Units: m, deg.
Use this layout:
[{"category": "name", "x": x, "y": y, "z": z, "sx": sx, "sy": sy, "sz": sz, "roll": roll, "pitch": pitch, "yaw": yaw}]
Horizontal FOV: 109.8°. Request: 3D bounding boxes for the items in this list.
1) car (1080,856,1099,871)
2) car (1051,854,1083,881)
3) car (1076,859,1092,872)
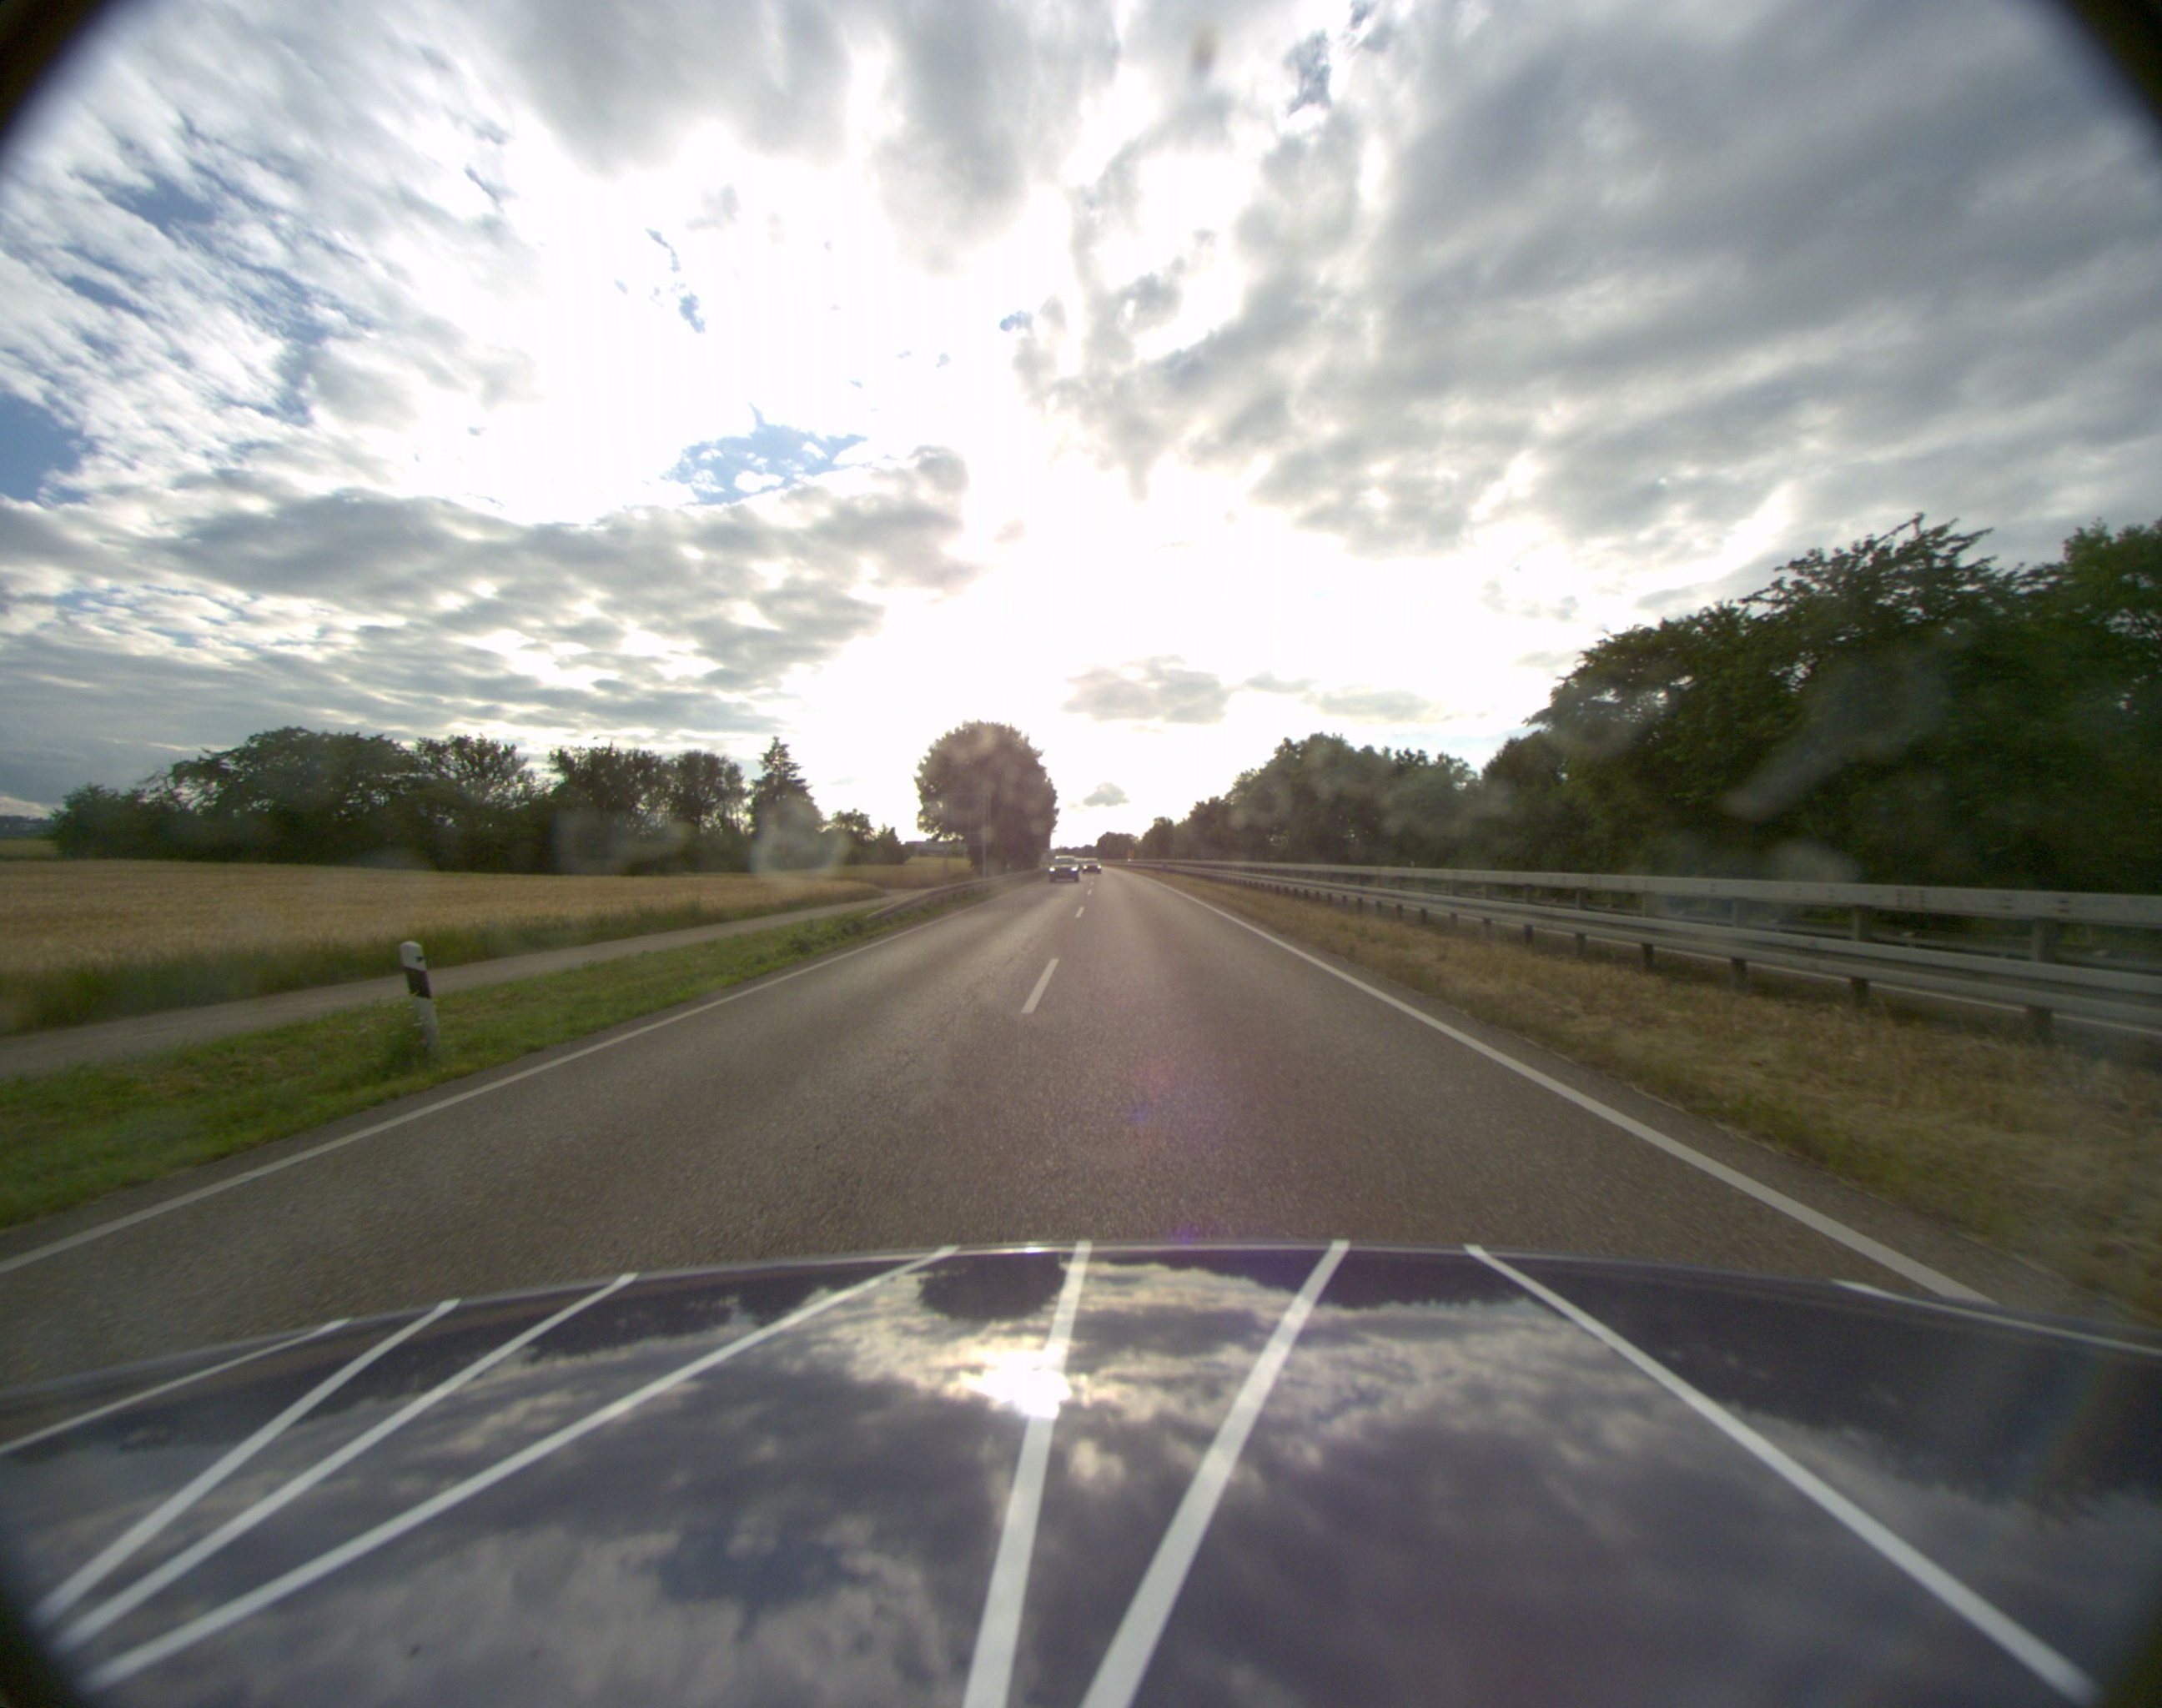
[{"category": "car", "x": 0.834, "y": 0.891, "z": 73.657, "sx": 1.775, "sy": 1.389, "sz": 4.000, "roll": -2, "pitch": 0, "yaw": 0}, {"category": "car", "x": -0.871, "y": 0.839, "z": 49.743, "sx": 1.863, "sy": 1.636, "sz": 4.000, "roll": -2, "pitch": 0, "yaw": 1}, {"category": "car", "x": 0.389, "y": 1.396, "z": 91.645, "sx": 1.823, "sy": 1.409, "sz": 4.000, "roll": -2, "pitch": 0, "yaw": 0}]
